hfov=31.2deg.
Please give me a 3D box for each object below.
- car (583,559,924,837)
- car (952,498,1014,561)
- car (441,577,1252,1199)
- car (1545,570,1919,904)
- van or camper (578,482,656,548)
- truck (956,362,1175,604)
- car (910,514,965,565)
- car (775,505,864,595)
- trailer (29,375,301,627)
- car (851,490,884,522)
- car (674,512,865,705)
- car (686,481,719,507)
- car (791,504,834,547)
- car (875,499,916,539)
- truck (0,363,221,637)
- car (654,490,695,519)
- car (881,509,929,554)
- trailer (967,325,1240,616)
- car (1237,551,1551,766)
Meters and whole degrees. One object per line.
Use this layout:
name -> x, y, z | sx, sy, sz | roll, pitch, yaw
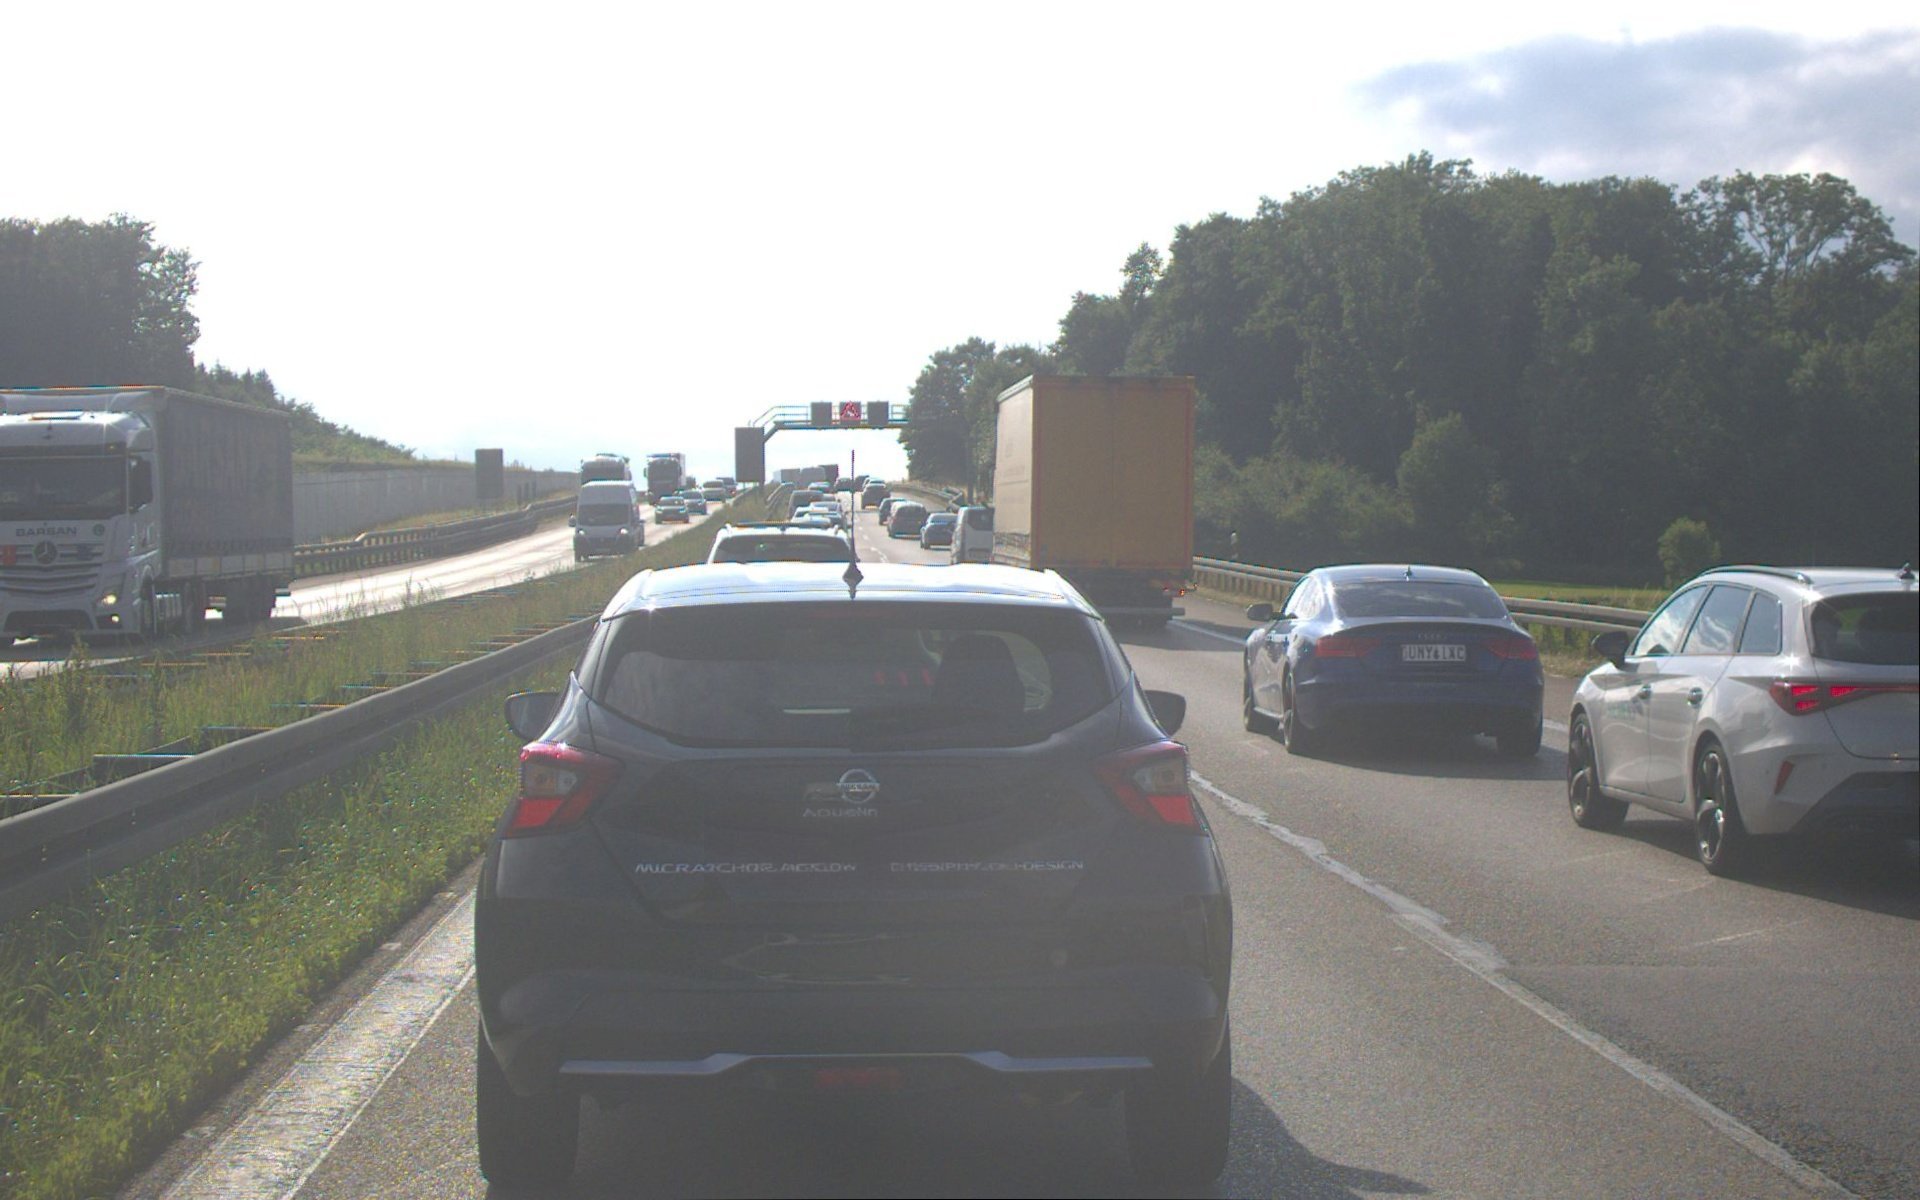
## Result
car -> -1.062, 0.472, 18.855 | 1.674, 1.362, 3.596 | 1, 0, -1
car -> 0.646, -2.006, 98.342 | 1.667, 1.748, 3.327 | 1, 1, -1
car -> -0.261, 0.664, 9.002 | 1.710, 1.421, 3.378 | 1, 0, -1
car -> 4.192, 0.584, 17.043 | 1.620, 1.440, 4.147 | 1, 0, -4
van or camper -> -12.166, -2.996, 122.293 | 2.166, 2.198, 6.259 | 1, 1, -1
truck -> 1.922, -2.164, 66.011 | 3.581, 4.364, 6.689 | 1, 1, -3
car -> -0.906, -2.405, 137.317 | 1.993, 2.007, 4.001 | 1, 1, -3
car -> -3.282, -1.154, 79.961 | 1.993, 2.007, 4.001 | 1, 1, -3
trailer -> -14.143, -1.676, 62.202 | 2.653, 4.067, 12.399 | 1, 1, -3
car -> -5.945, -6.024, 220.908 | 1.993, 2.007, 4.001 | 1, 1, -3
car -> -1.766, 0.059, 32.730 | 1.674, 1.720, 3.596 | 1, 0, -1
car -> -16.216, -6.647, 216.513 | 1.803, 1.511, 4.691 | 1, 1, -1
car -> -7.191, -3.625, 167.186 | 1.993, 2.007, 4.001 | 1, 1, -3
car -> -3.413, -4.273, 181.193 | 1.993, 2.007, 4.001 | 1, 1, -3
truck -> -13.784, -1.542, 55.090 | 2.637, 4.084, 7.003 | 1, 1, -3
car -> -15.819, -5.293, 190.685 | 1.993, 1.481, 4.398 | 1, 1, -1
car -> -2.515, -3.090, 155.647 | 1.993, 2.007, 4.001 | 1, 1, -3
trailer -> 2.239, -2.065, 59.524 | 3.548, 4.442, 12.723 | 1, 1, -3
car -> 3.183, 0.388, 25.957 | 1.747, 1.470, 4.147 | 1, 0, -1
